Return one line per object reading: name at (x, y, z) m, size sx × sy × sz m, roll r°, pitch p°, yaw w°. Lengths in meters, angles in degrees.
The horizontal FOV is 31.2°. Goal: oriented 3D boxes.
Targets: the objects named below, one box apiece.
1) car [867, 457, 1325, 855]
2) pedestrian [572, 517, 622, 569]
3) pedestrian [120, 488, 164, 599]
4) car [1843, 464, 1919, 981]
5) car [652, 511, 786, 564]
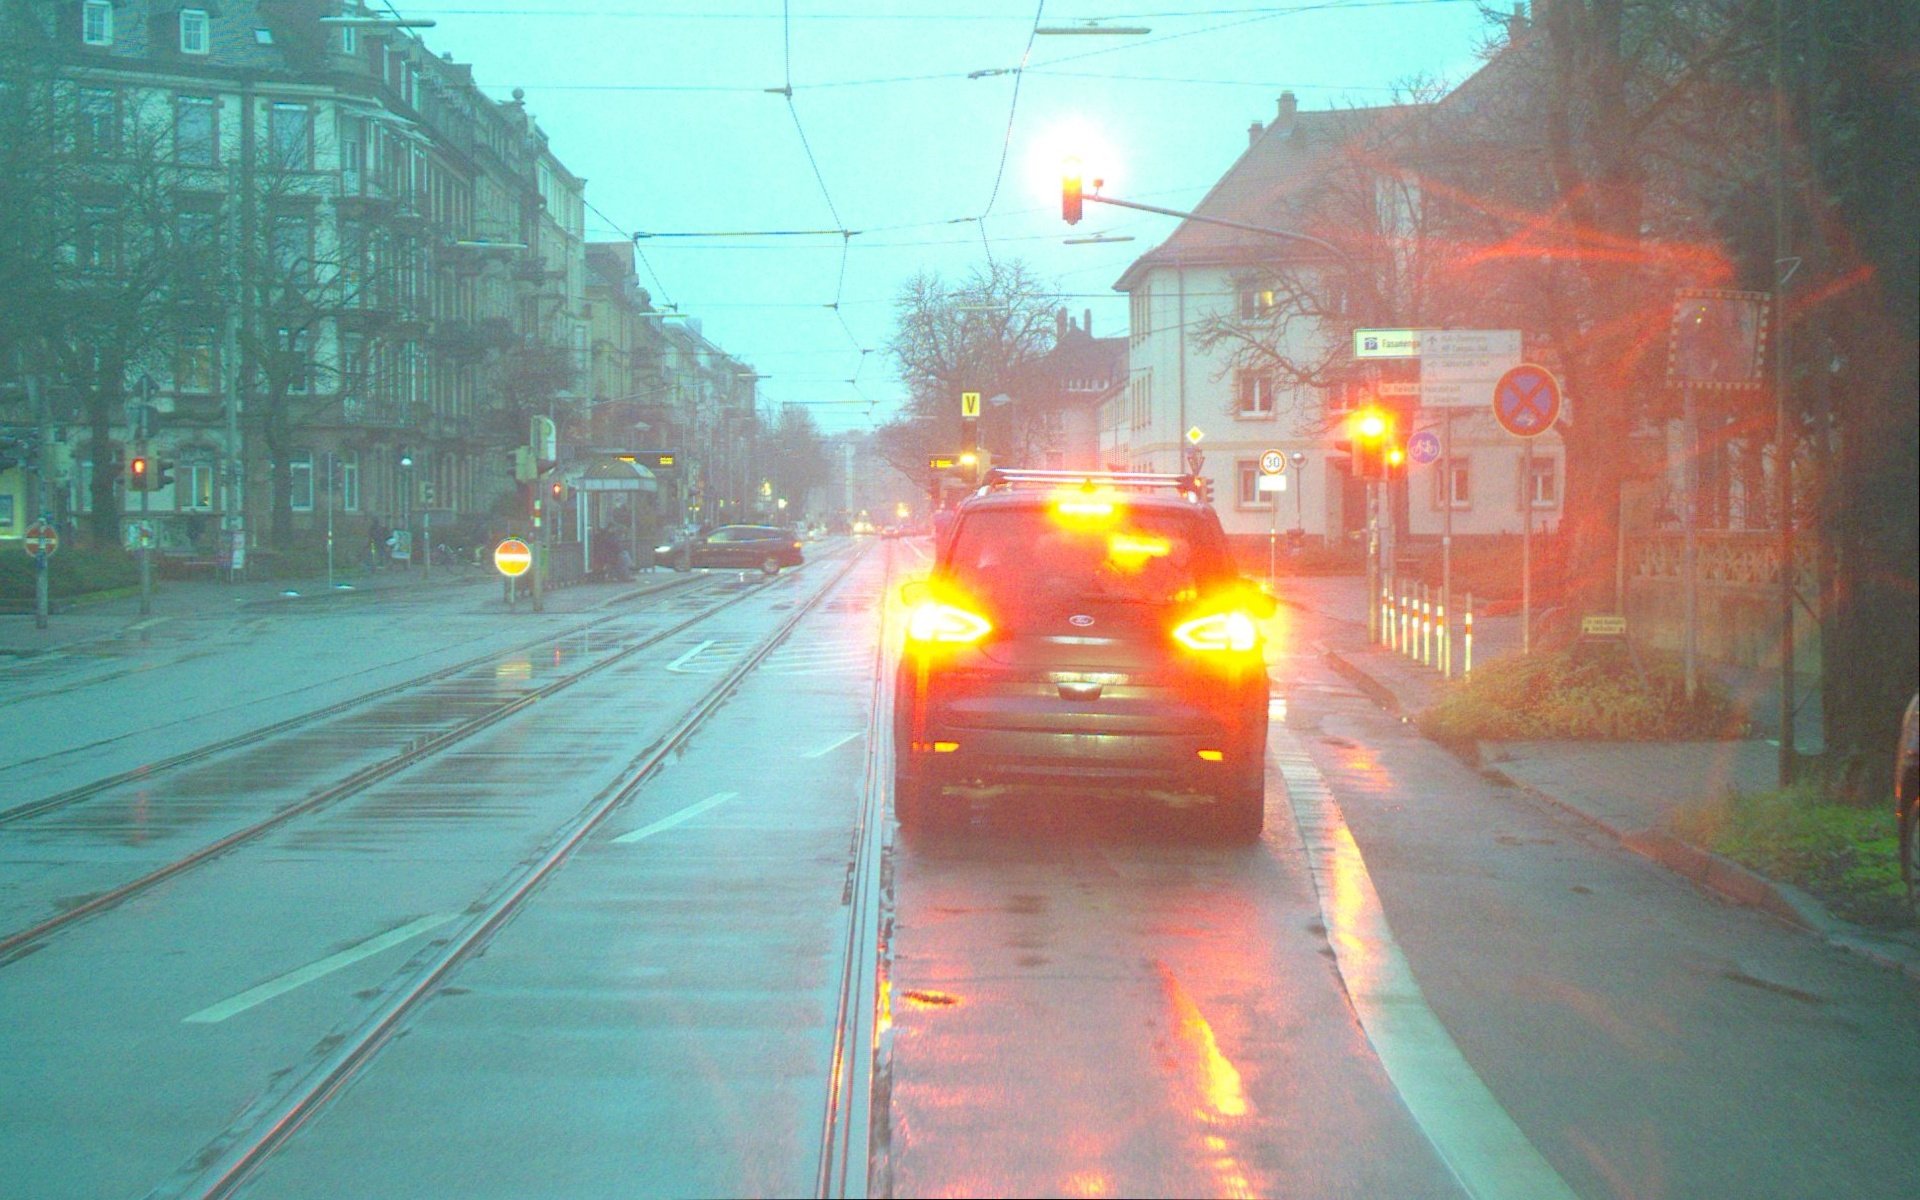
car at (0.698, 0.206, 18.556) m, size 2.103 × 1.810 × 4.661 m, roll 2°, pitch 1°, yaw 1°
pedestrian at (-8.429, -1.322, 79.901) m, size 1.047 × 1.196 × 0.885 m, roll 1°, pitch 1°, yaw 1°
pedestrian at (-14.809, -1.028, 62.208) m, size 0.704 × 2.007 × 0.661 m, roll 0°, pitch 1°, yaw -20°
car at (4.503, 0.470, 10.937) m, size 2.030 × 1.869 × 4.964 m, roll -1°, pitch 1°, yaw -1°
car at (-7.414, -1.921, 105.532) m, size 4.004 × 1.589 × 1.709 m, roll 0°, pitch 1°, yaw -8°
